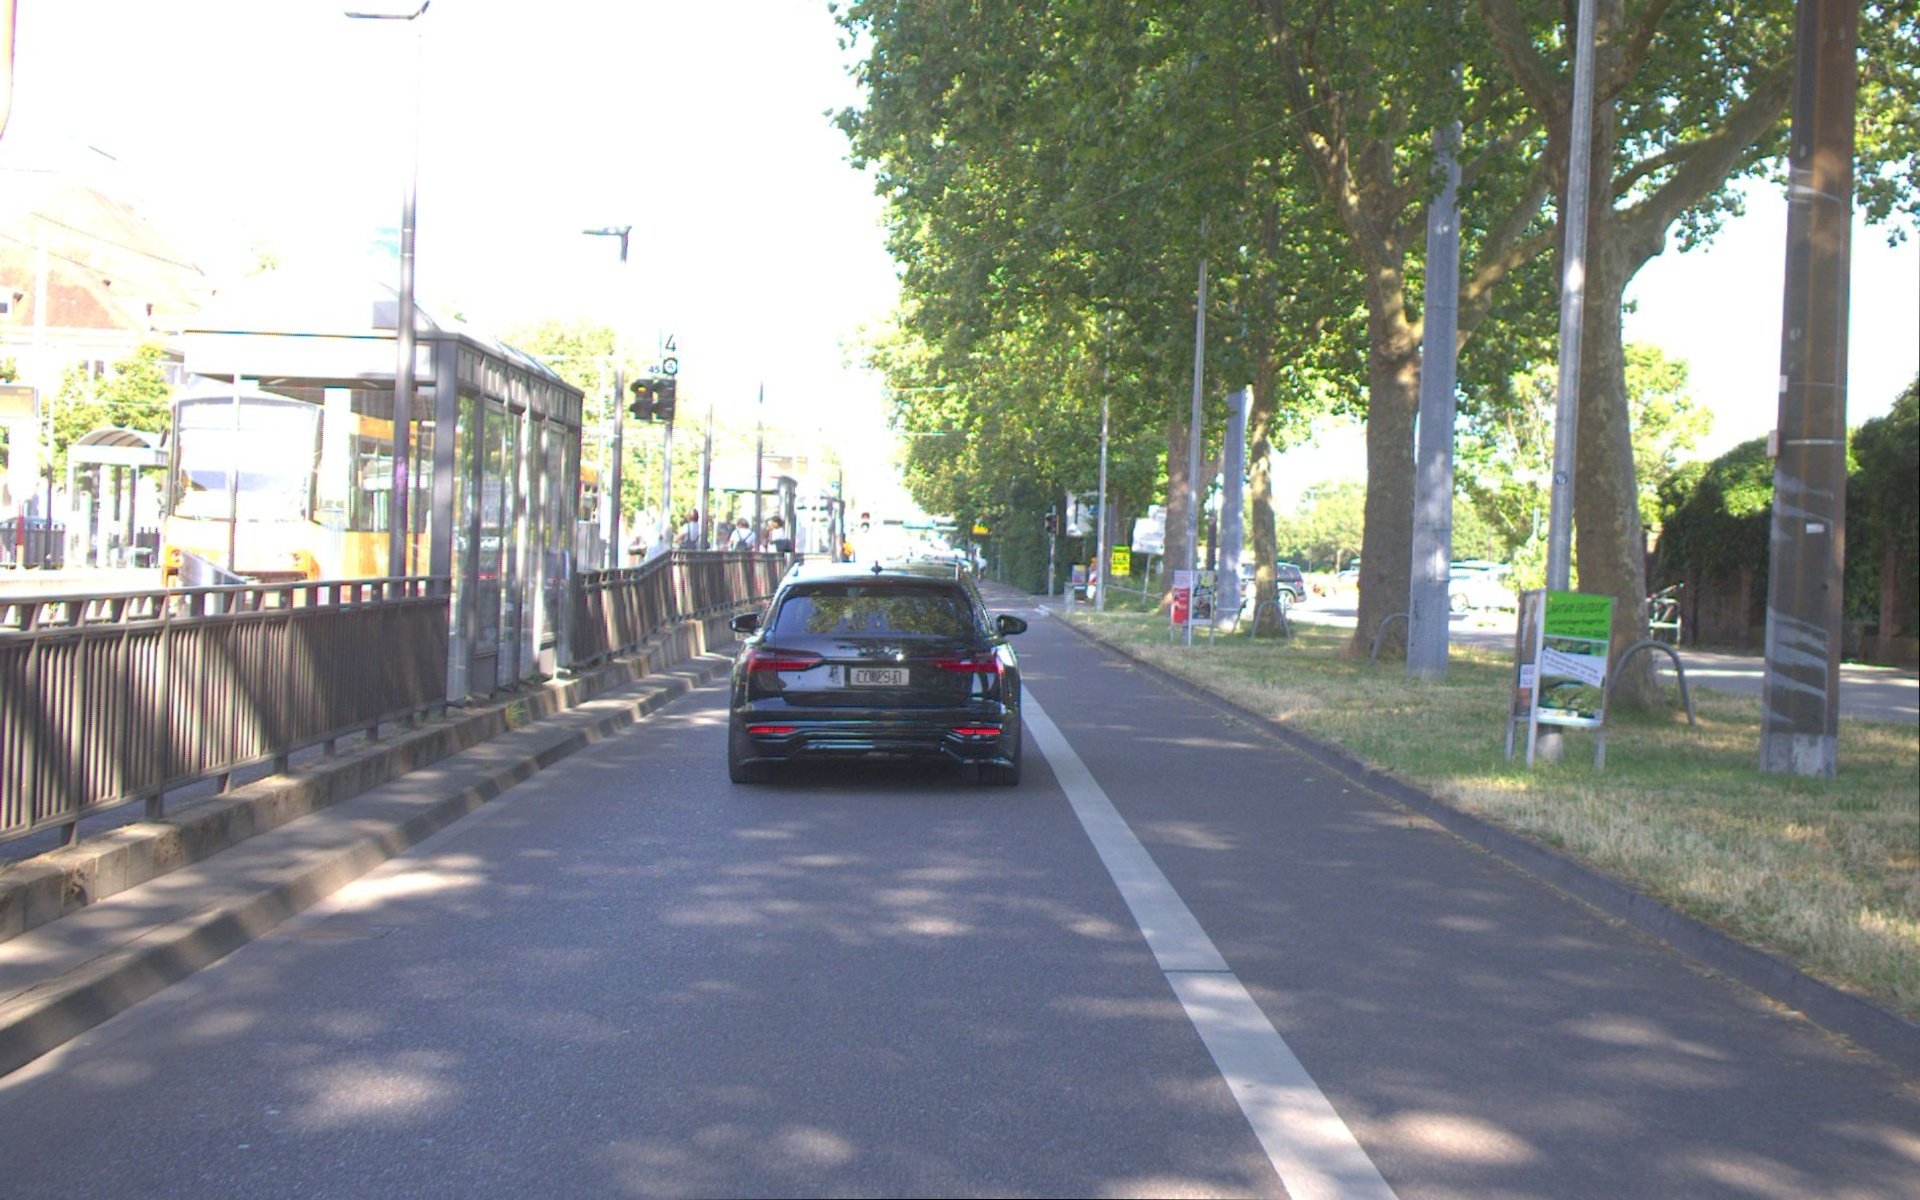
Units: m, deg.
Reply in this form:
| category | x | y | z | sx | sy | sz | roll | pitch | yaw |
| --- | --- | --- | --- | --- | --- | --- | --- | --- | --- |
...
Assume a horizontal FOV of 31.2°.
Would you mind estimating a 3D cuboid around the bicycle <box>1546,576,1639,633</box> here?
| category | x | y | z | sx | sy | sz | roll | pitch | yaw |
| --- | --- | --- | --- | --- | --- | --- | --- | --- | --- |
| bicycle | 12.795 | 0.094 | 69.574 | 1.773 | 1.116 | 0.439 | 1 | 1 | -1 |

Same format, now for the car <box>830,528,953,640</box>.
| category | x | y | z | sx | sy | sz | roll | pitch | yaw |
| --- | --- | --- | --- | --- | --- | --- | --- | --- | --- |
| car | -1.108 | -0.278 | 53.624 | 1.762 | 1.614 | 4.001 | 2 | 1 | -2 |

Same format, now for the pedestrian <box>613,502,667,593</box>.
| category | x | y | z | sx | sy | sz | roll | pitch | yaw |
| --- | --- | --- | --- | --- | --- | --- | --- | --- | --- |
| pedestrian | -6.424 | -1.052 | 69.042 | 0.793 | 1.778 | 0.649 | 2 | 1 | -40 |

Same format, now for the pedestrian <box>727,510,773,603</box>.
| category | x | y | z | sx | sy | sz | roll | pitch | yaw |
| --- | --- | --- | --- | --- | --- | --- | --- | --- | --- |
| pedestrian | -3.768 | -0.785 | 61.609 | 0.611 | 1.636 | 0.614 | 2 | 1 | -19 |

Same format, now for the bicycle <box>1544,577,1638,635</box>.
| category | x | y | z | sx | sy | sz | roll | pitch | yaw |
| --- | --- | --- | --- | --- | --- | --- | --- | --- | --- |
| bicycle | 12.574 | 0.110 | 68.529 | 1.773 | 1.116 | 0.439 | 1 | 1 | -1 |

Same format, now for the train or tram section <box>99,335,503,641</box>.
| category | x | y | z | sx | sy | sz | roll | pitch | yaw |
| --- | --- | --- | --- | --- | --- | --- | --- | --- | --- |
| train or tram section | -9.497 | -1.550 | 51.722 | 3.309 | 3.816 | 14.220 | 3 | 1 | -1 |

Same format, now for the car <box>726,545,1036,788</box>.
| category | x | y | z | sx | sy | sz | roll | pitch | yaw |
| --- | --- | --- | --- | --- | --- | --- | --- | --- | --- |
| car | -0.554 | 0.384 | 22.719 | 1.878 | 1.452 | 3.357 | 1 | 1 | -3 |

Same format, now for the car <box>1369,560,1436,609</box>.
| category | x | y | z | sx | sy | sz | roll | pitch | yaw |
| --- | --- | --- | --- | --- | --- | --- | --- | --- | --- |
| car | 14.472 | -0.519 | 112.568 | 1.614 | 1.510 | 3.803 | 2 | 1 | 0 |

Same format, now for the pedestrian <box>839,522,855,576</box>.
| category | x | y | z | sx | sy | sz | roll | pitch | yaw |
| --- | --- | --- | --- | --- | --- | --- | --- | --- | --- |
| pedestrian | -3.616 | -1.641 | 109.918 | 0.412 | 1.711 | 0.666 | 3 | 1 | 0 |

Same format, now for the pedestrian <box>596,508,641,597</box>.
| category | x | y | z | sx | sy | sz | roll | pitch | yaw |
| --- | --- | --- | --- | --- | --- | --- | --- | --- | --- |
| pedestrian | -6.937 | -0.965 | 69.860 | 0.793 | 1.778 | 0.625 | 2 | 1 | 0 |

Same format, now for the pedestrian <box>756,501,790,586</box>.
| category | x | y | z | sx | sy | sz | roll | pitch | yaw |
| --- | --- | --- | --- | --- | --- | --- | --- | --- | --- |
| pedestrian | -3.953 | -1.195 | 72.880 | 0.611 | 1.778 | 0.613 | 2 | 1 | 0 |

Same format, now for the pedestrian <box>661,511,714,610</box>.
| category | x | y | z | sx | sy | sz | roll | pitch | yaw |
| --- | --- | --- | --- | --- | --- | --- | --- | --- | --- |
| pedestrian | -4.328 | -0.626 | 54.696 | 0.614 | 1.543 | 0.724 | 3 | 1 | 10 |

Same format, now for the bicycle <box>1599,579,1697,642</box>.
| category | x | y | z | sx | sy | sz | roll | pitch | yaw |
| --- | --- | --- | --- | --- | --- | --- | --- | --- | --- |
| bicycle | 12.667 | 0.191 | 63.293 | 1.687 | 1.116 | 0.439 | 1 | 1 | -1 |

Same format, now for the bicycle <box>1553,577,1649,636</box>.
| category | x | y | z | sx | sy | sz | roll | pitch | yaw |
| --- | --- | --- | --- | --- | --- | --- | --- | --- | --- |
| bicycle | 12.570 | 0.133 | 67.443 | 1.773 | 1.116 | 0.439 | 1 | 1 | -1 |

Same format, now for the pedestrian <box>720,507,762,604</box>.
| category | x | y | z | sx | sy | sz | roll | pitch | yaw |
| --- | --- | --- | --- | --- | --- | --- | --- | --- | --- |
| pedestrian | -3.858 | -0.783 | 60.475 | 0.611 | 1.663 | 0.613 | 2 | 1 | 2 |

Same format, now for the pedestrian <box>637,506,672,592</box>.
| category | x | y | z | sx | sy | sz | roll | pitch | yaw |
| --- | --- | --- | --- | --- | --- | --- | --- | --- | --- |
| pedestrian | -6.424 | -1.078 | 72.326 | 0.611 | 1.778 | 0.775 | 2 | 1 | 0 |

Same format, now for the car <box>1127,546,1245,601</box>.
| category | x | y | z | sx | sy | sz | roll | pitch | yaw |
| --- | --- | --- | --- | --- | --- | --- | --- | --- | --- |
| car | 7.949 | -0.946 | 121.257 | 3.987 | 1.758 | 1.833 | 2 | 0 | 1 |

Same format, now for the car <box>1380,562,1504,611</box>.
| category | x | y | z | sx | sy | sz | roll | pitch | yaw |
| --- | --- | --- | --- | --- | --- | --- | --- | --- | --- |
| car | 18.182 | -0.519 | 129.853 | 4.459 | 1.653 | 1.917 | 3 | 1 | 4 |

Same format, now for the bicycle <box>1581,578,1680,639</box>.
| category | x | y | z | sx | sy | sz | roll | pitch | yaw |
| --- | --- | --- | --- | --- | --- | --- | --- | --- | --- |
| bicycle | 12.742 | 0.155 | 65.309 | 1.773 | 1.116 | 0.439 | 1 | 1 | -1 |
